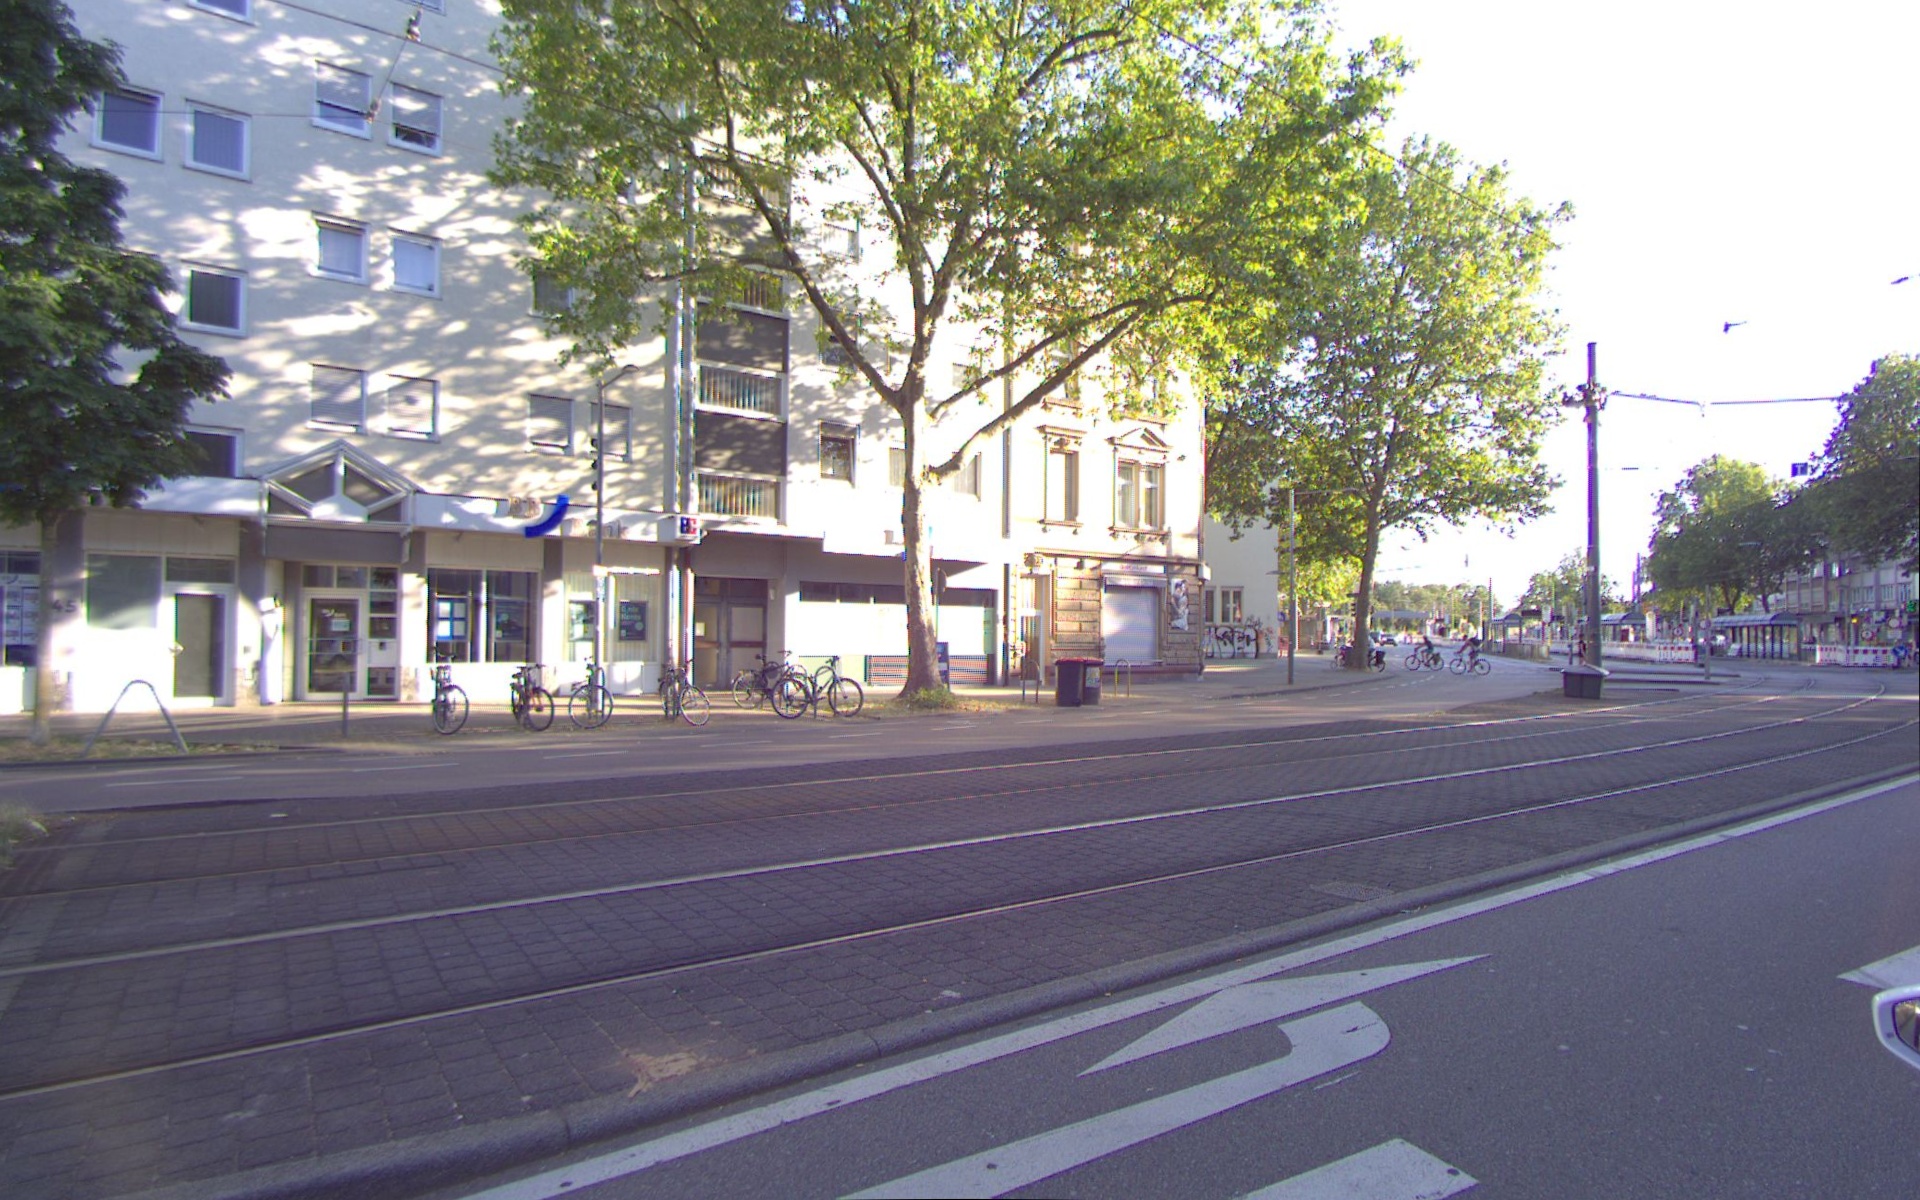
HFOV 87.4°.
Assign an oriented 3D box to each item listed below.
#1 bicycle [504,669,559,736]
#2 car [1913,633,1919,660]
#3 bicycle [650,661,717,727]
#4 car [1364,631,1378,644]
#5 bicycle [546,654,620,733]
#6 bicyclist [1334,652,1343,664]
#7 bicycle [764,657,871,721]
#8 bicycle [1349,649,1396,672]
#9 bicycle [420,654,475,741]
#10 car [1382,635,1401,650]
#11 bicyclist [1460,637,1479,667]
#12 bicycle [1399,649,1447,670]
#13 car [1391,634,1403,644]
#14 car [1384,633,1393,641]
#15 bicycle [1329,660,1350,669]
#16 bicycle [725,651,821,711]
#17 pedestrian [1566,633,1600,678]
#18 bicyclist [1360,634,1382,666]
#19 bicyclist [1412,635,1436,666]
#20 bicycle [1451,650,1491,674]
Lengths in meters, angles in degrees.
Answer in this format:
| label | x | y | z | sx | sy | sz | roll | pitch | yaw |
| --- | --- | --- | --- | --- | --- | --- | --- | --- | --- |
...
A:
| label | x | y | z | sx | sy | sz | roll | pitch | yaw |
| --- | --- | --- | --- | --- | --- | --- | --- | --- | --- |
| bicycle | -6.702 | 1.568 | 15.671 | 0.467 | 0.900 | 1.729 | 2 | -1 | -34 |
| car | 64.531 | 3.116 | 65.525 | 1.960 | 1.815 | 4.000 | 2 | -1 | 20 |
| bicycle | -4.791 | 1.585 | 17.313 | 0.584 | 1.002 | 1.729 | 2 | -1 | -34 |
| car | 59.716 | 5.409 | 145.766 | 1.765 | 1.820 | 3.998 | 0 | -2 | 24 |
| bicycle | -6.107 | 1.470 | 16.223 | 0.724 | 1.128 | 1.729 | 2 | -1 | -34 |
| bicyclist | 18.237 | 2.794 | 48.410 | 0.304 | 0.597 | 0.279 | -1 | -2 | 39 |
| bicycle | -2.573 | 1.598 | 18.231 | 1.800 | 1.091 | 0.649 | 2 | -2 | -29 |
| bicycle | 18.930 | 2.765 | 46.125 | 1.883 | 1.018 | 0.618 | -1 | -2 | 36 |
| bicycle | -7.603 | 1.411 | 14.883 | 0.506 | 1.153 | 1.729 | 2 | -1 | -34 |
| car | 50.817 | 5.012 | 118.322 | 1.962 | 1.661 | 3.997 | 0 | -2 | 25 |
| bicyclist | 22.093 | 2.244 | 43.570 | 0.631 | 1.310 | 0.455 | -1 | -2 | 42 |
| bicycle | 22.343 | 2.864 | 48.475 | 0.755 | 0.950 | 1.999 | 2 | -2 | -43 |
| car | 78.943 | 7.013 | 181.511 | 1.814 | 1.706 | 3.715 | -2 | -2 | 23 |
| car | 89.730 | 7.721 | 210.447 | 1.814 | 1.706 | 3.716 | 0 | -2 | 23 |
| bicycle | 18.275 | 3.106 | 48.366 | 0.946 | 0.404 | 0.288 | -1 | -2 | 40 |
| bicycle | -3.735 | 1.602 | 20.108 | 1.777 | 1.132 | 0.617 | 2 | -2 | -29 |
| pedestrian | 24.445 | 2.191 | 39.418 | 0.639 | 1.708 | 0.985 | 3 | -2 | -41 |
| bicyclist | 18.897 | 2.301 | 46.167 | 0.828 | 1.463 | 0.625 | -1 | -2 | 36 |
| bicyclist | 22.370 | 2.419 | 48.453 | 0.751 | 1.463 | 0.831 | 2 | -2 | -44 |
| bicycle | 22.131 | 2.693 | 43.520 | 1.488 | 0.998 | 0.448 | -1 | -2 | 42 |
